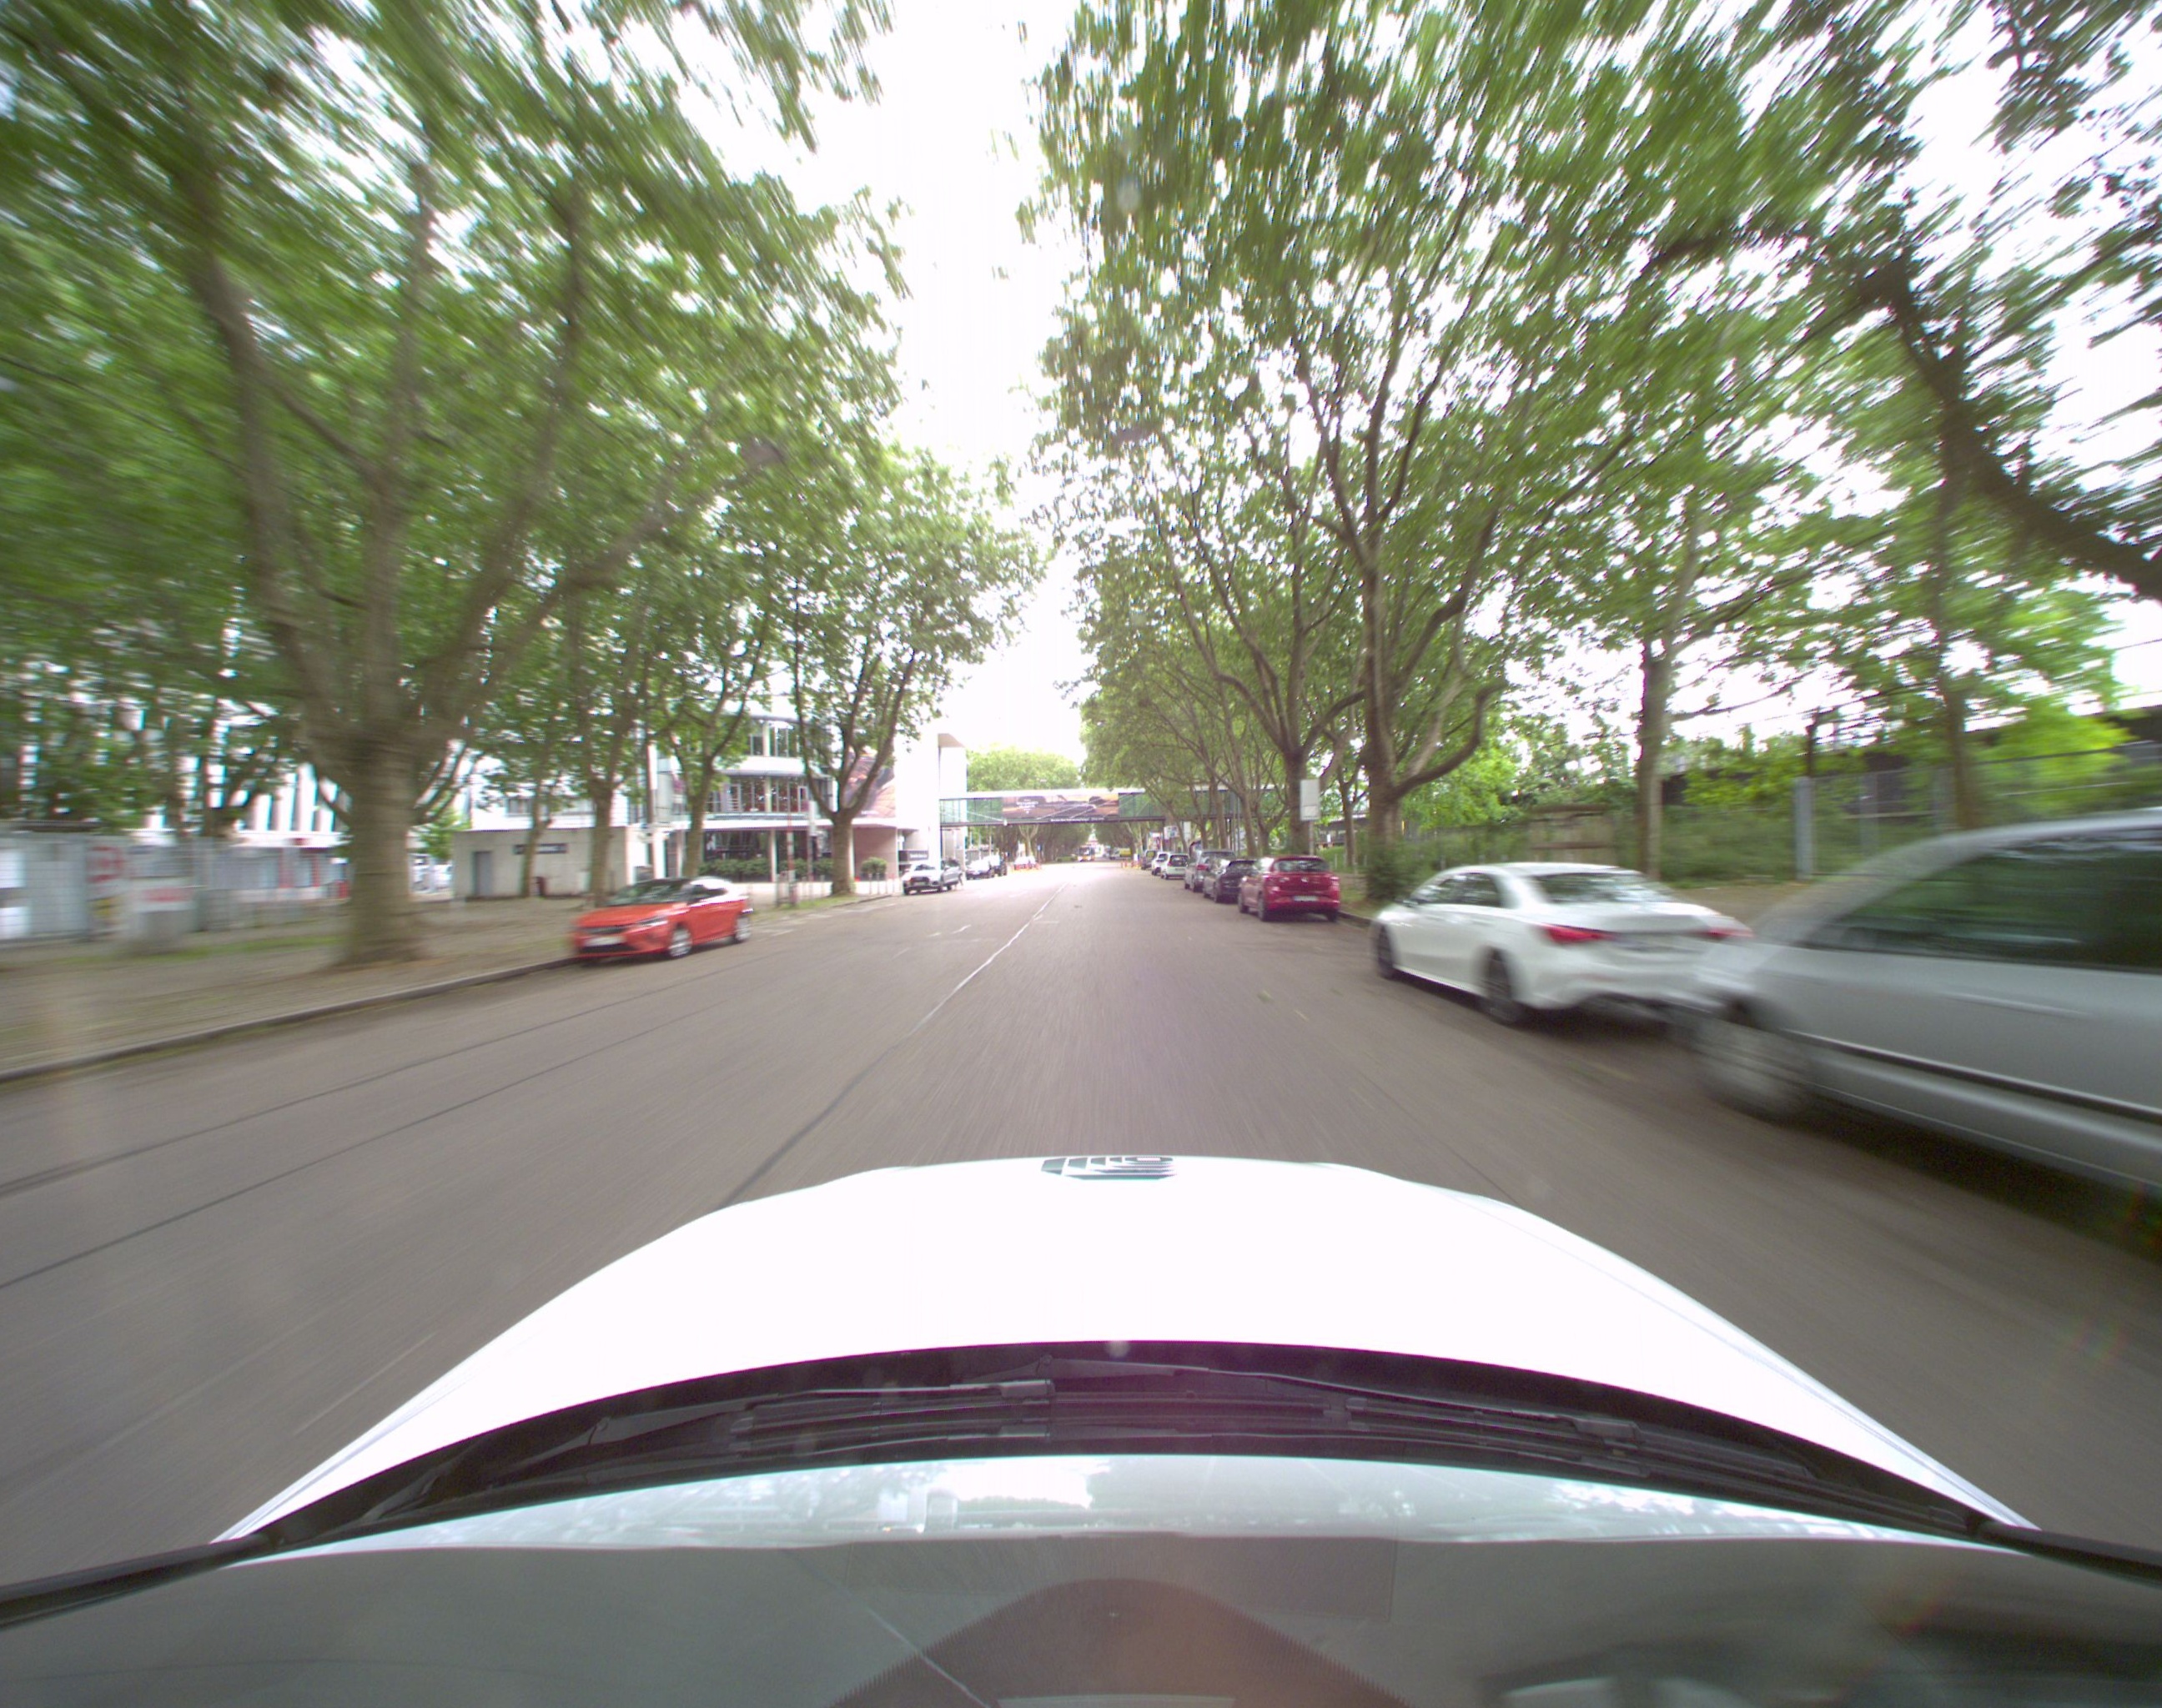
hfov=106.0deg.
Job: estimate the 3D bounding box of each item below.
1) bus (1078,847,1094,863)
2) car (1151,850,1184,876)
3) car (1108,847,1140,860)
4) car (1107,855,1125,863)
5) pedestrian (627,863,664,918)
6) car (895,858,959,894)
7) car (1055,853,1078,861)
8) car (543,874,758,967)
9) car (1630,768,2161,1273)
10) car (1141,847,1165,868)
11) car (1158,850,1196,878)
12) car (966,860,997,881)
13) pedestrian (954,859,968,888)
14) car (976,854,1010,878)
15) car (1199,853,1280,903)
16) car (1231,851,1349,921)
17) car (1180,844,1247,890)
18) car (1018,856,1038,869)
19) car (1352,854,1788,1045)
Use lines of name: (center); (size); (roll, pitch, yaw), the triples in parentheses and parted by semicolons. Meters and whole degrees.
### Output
bus: (1.039, 0.216, 169.935); (3.028, 3.160, 12.677); (-4, 0, 1)
car: (5.904, 0.596, 56.000); (1.907, 1.618, 4.750); (-2, 0, 1)
car: (9.638, -0.132, 182.591); (6.803, 2.513, 2.315); (-2, 0, -1)
car: (8.164, 1.103, 190.054); (3.974, 1.794, 1.543); (-2, 0, 0)
pedestrian: (-13.098, 1.086, 24.492); (0.588, 1.620, 0.794); (-1, 0, 10)
car: (-7.392, 1.014, 39.557); (2.066, 1.563, 4.758); (-2, 0, 1)
car: (-3.074, 0.672, 172.733); (4.682, 1.584, 1.865); (-2, 0, 2)
car: (-7.862, 1.141, 15.364); (1.801, 1.354, 4.001); (-2, 0, 1)
car: (4.662, 0.551, 3.291); (1.896, 1.738, 4.507); (-1, 0, 1)
car: (6.379, 0.336, 72.428); (1.840, 1.783, 5.212); (0, 0, 1)
car: (5.591, 0.557, 47.796); (1.801, 1.526, 4.097); (-2, 0, 1)
car: (-7.605, 1.225, 62.603); (1.698, 1.419, 4.326); (-4, 0, 2)
pedestrian: (-6.008, 0.973, 40.818); (0.581, 1.466, 0.568); (-1, 0, 4)
car: (-7.354, 1.008, 68.657); (2.027, 1.789, 4.909); (-5, 0, 2)
car: (5.025, 0.713, 26.456); (1.870, 1.427, 4.481); (-2, 0, 2)
car: (4.925, 0.701, 19.782); (1.850, 1.481, 4.178); (-1, 0, 1)
car: (5.322, 0.513, 33.355); (1.975, 1.680, 4.731); (-2, 0, 0)
car: (-6.257, 0.996, 97.259); (1.851, 1.453, 4.450); (-4, 0, 1)
car: (4.561, 0.739, 8.617); (1.871, 1.427, 4.586); (-2, 0, 0)
